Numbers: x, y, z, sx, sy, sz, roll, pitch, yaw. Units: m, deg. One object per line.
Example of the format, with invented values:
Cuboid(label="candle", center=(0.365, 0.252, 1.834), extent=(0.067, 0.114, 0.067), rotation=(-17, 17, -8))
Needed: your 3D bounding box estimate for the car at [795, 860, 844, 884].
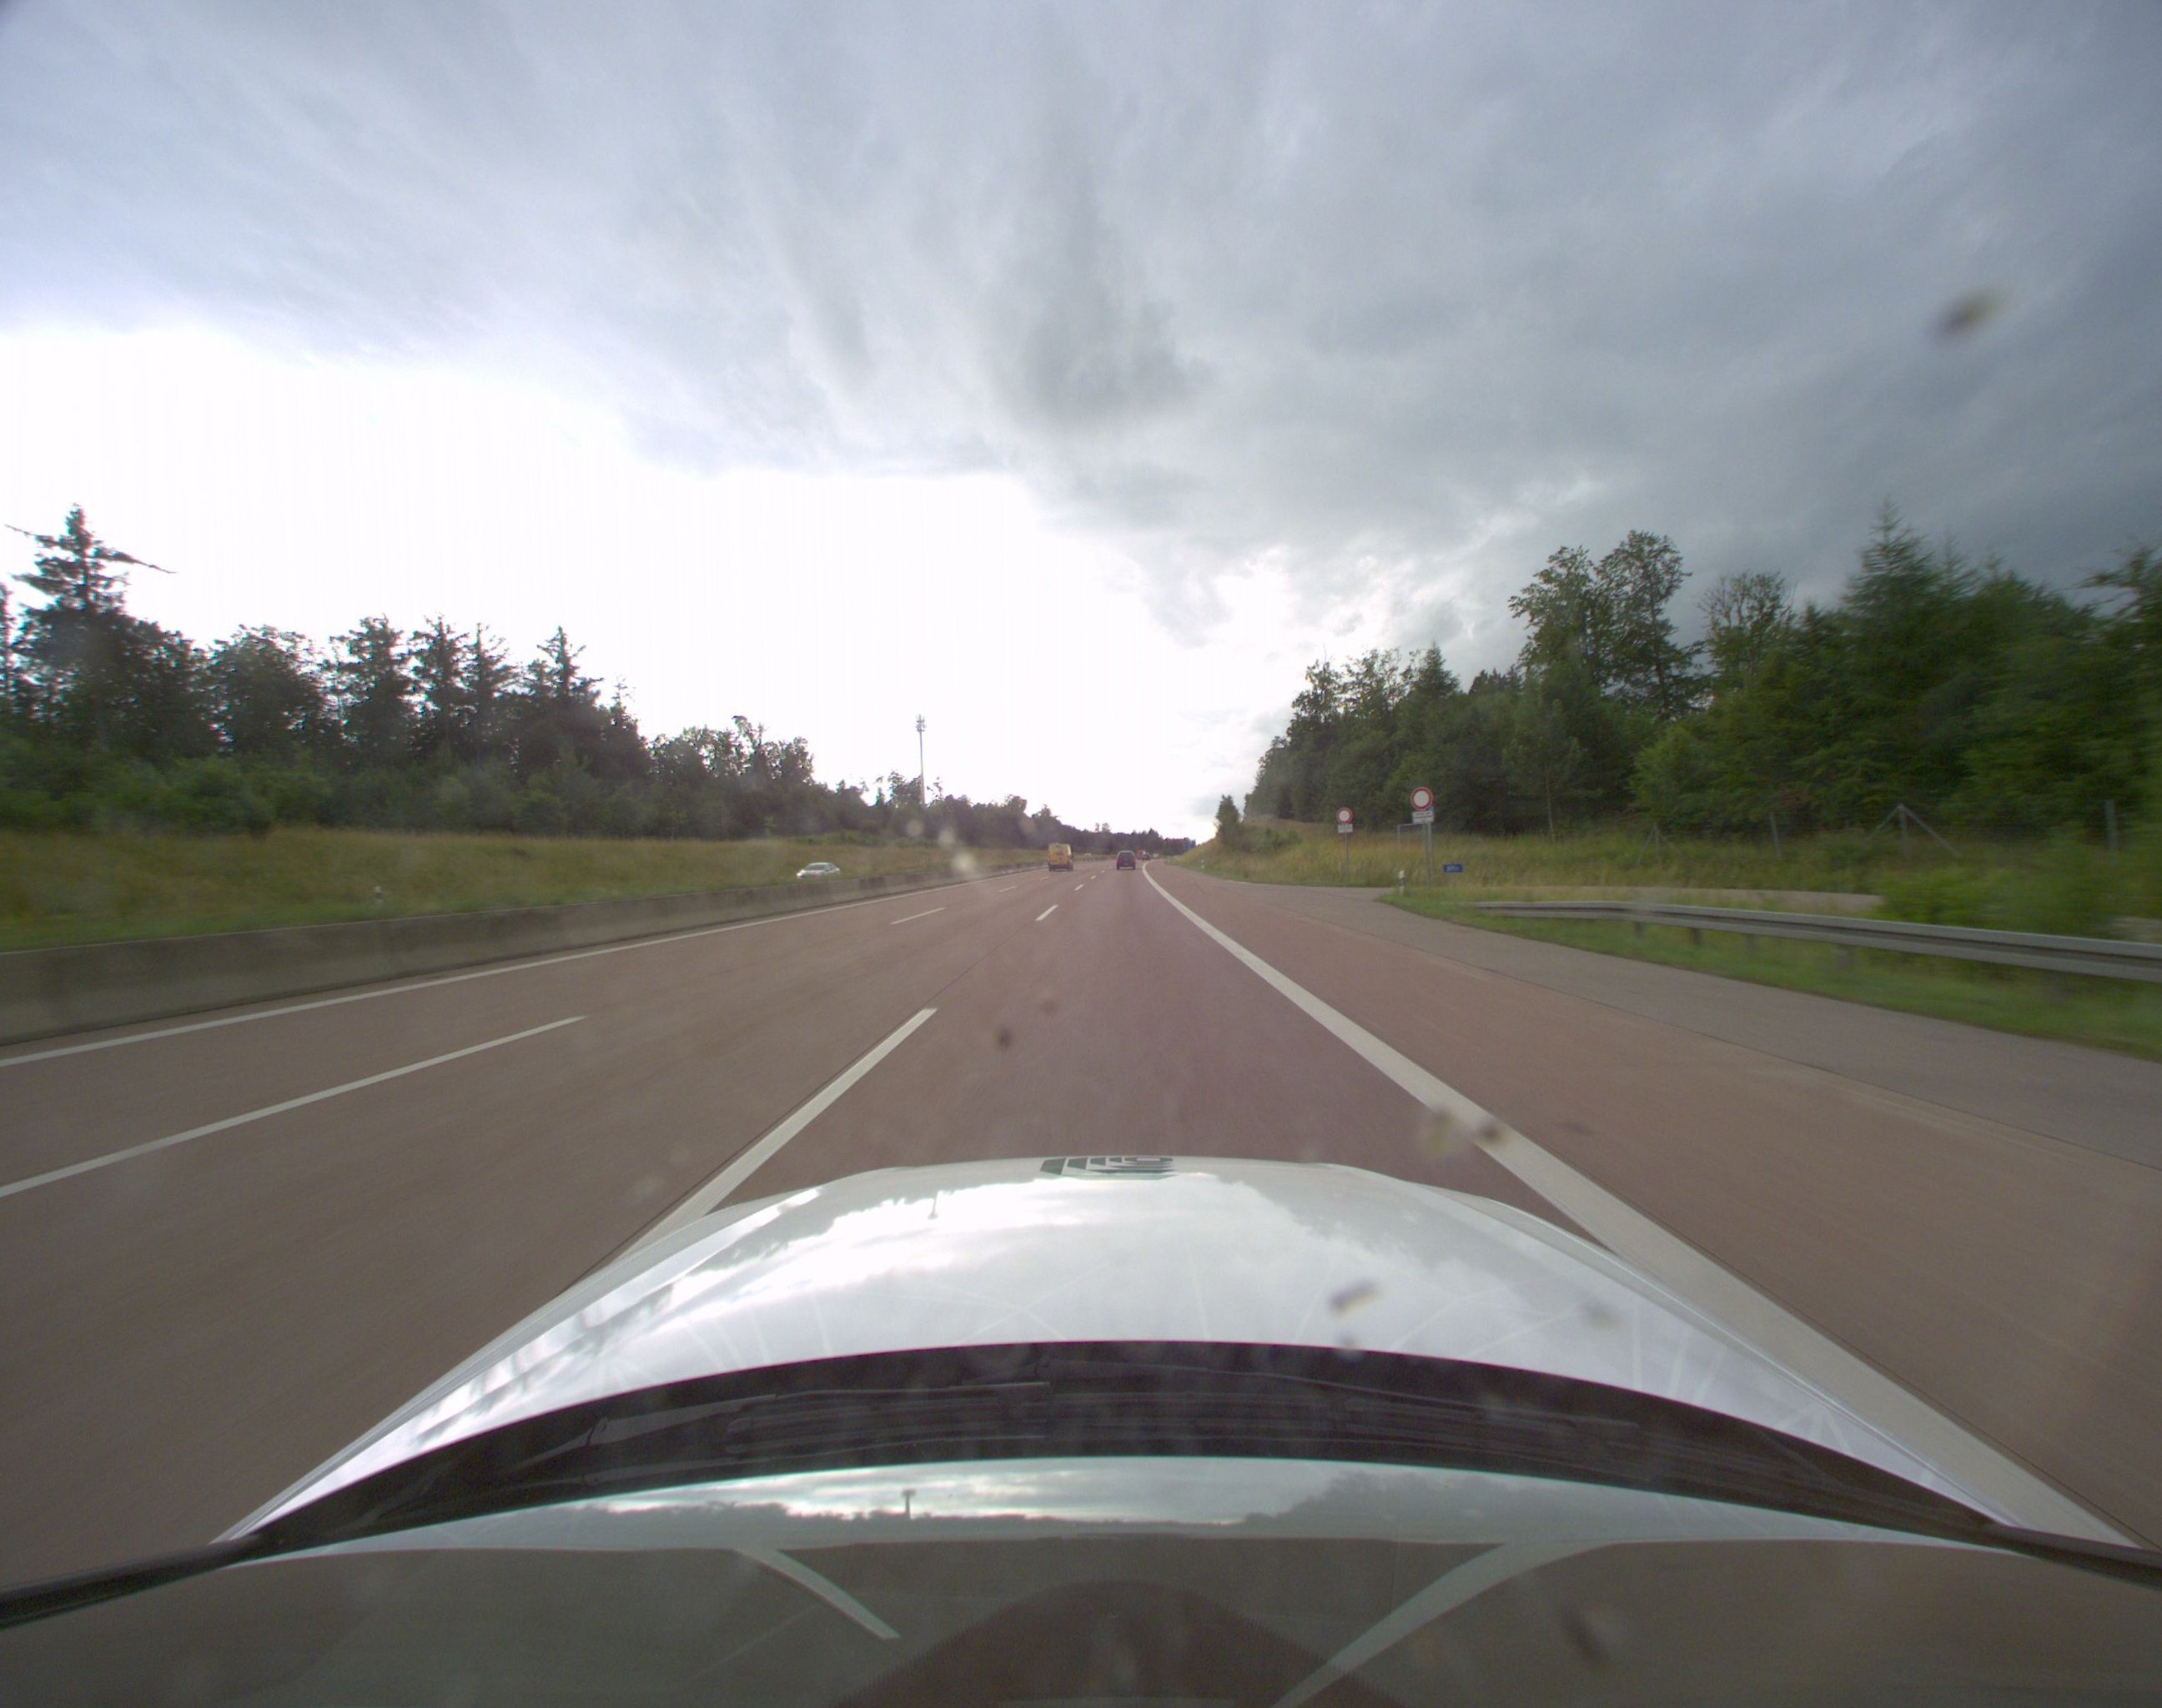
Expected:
Cuboid(label="car", center=(-17.609, 1.217, 55.043), extent=(1.664, 1.525, 4.826), rotation=(-1, -2, 1))

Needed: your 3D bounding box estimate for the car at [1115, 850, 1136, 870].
Cuboid(label="car", center=(4.580, 0.625, 83.186), extent=(2.035, 1.897, 5.581), rotation=(-2, -2, 3))

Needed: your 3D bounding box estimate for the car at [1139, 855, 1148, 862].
Cuboid(label="car", center=(13.941, 1.005, 180.961), extent=(1.969, 1.648, 4.623), rotation=(-1, 0, 3))

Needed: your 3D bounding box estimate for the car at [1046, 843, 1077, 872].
Cuboid(label="car", center=(-1.889, 0.370, 81.248), extent=(2.447, 2.706, 5.619), rotation=(-2, -2, 4))

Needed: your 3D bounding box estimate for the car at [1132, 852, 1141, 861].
Cuboid(label="car", center=(16.000, 0.735, 233.229), extent=(2.229, 2.430, 6.215), rotation=(-1, 0, 6))
